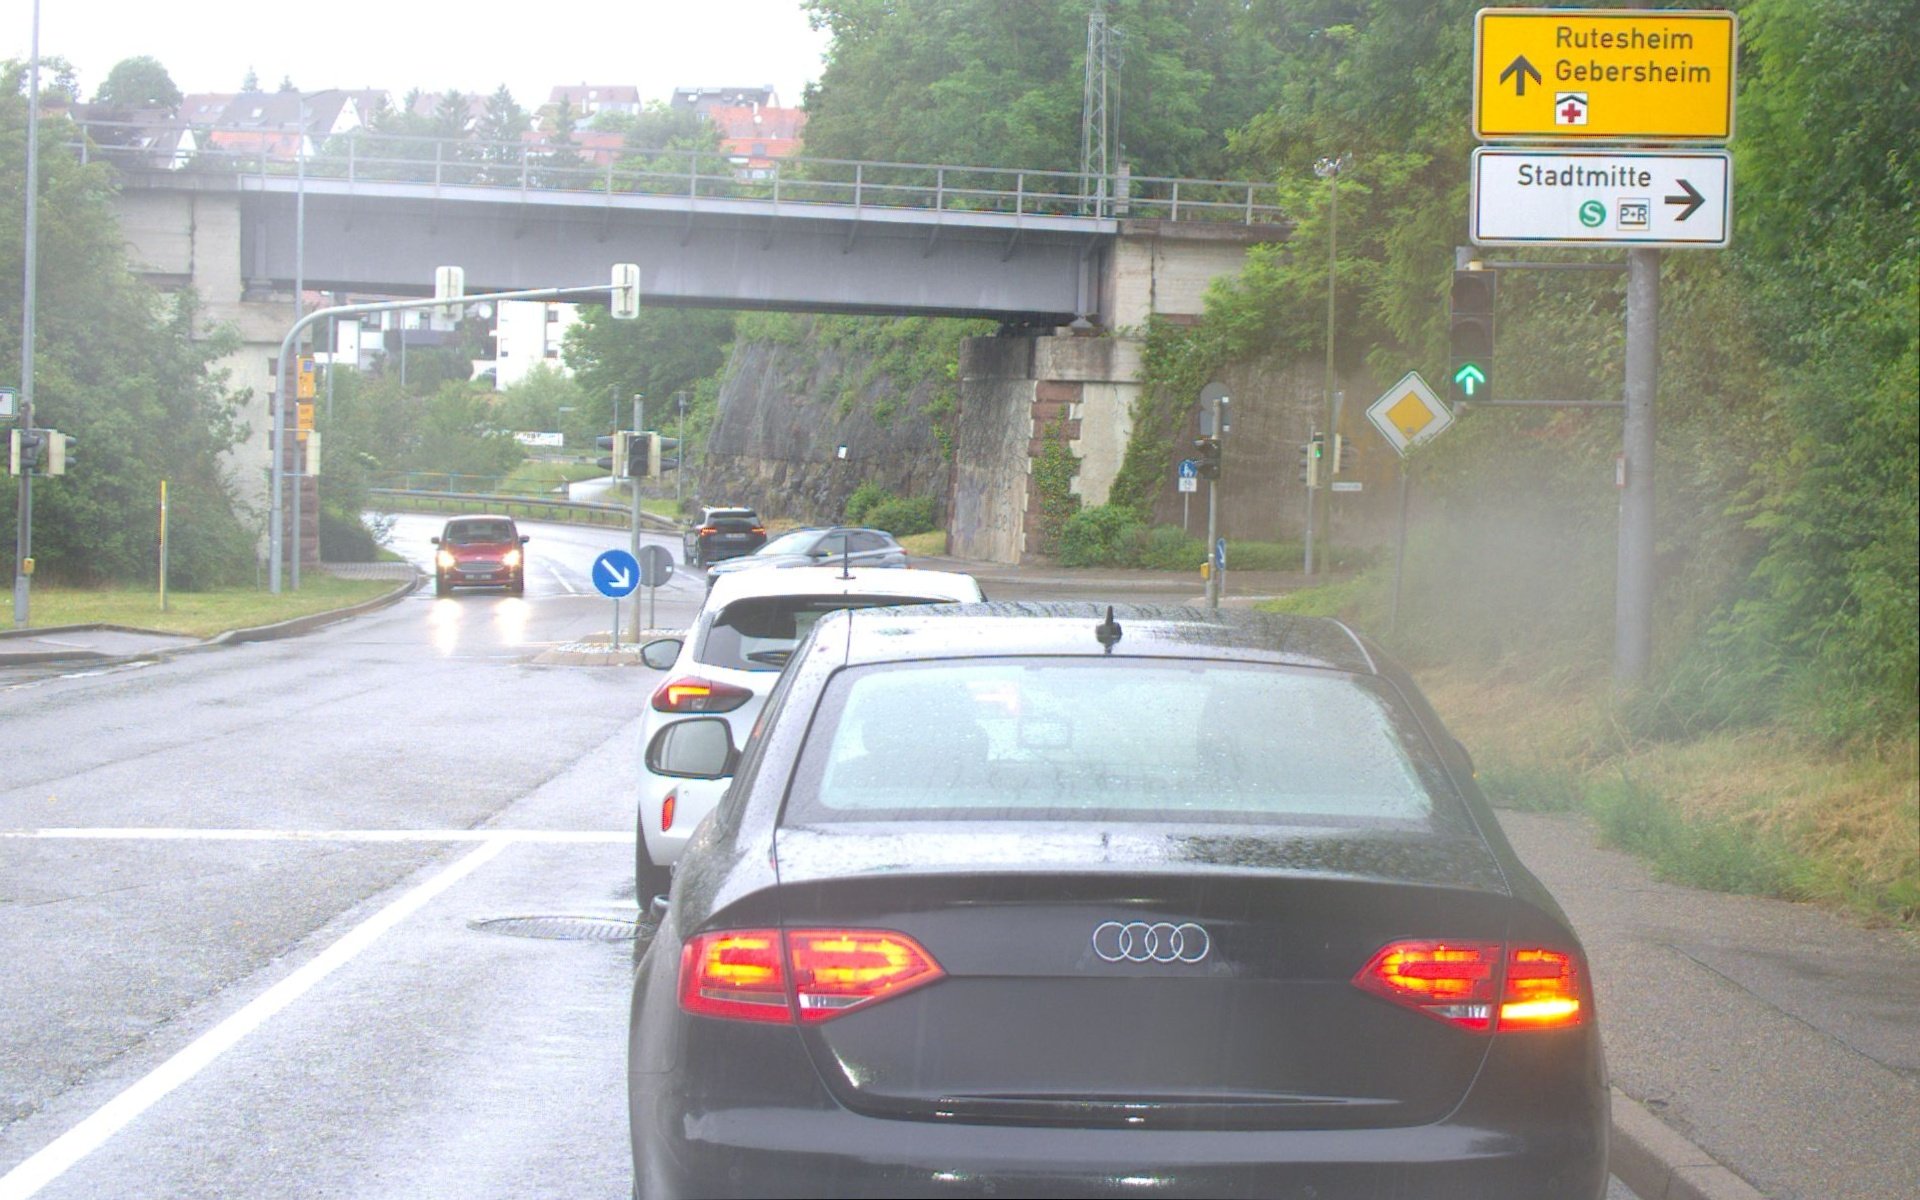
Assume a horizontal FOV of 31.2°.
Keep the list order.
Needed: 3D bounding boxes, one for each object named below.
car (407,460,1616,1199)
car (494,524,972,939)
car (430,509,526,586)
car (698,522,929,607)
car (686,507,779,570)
[{"bbox_3d":[0.054,0.603,7.340,1.870,1.611,4.000,1,0,-1],"label":"car"},{"bbox_3d":[-0.900,0.510,15.221,1.823,1.579,4.000,1,0,-1],"label":"car"},{"bbox_3d":[-10.465,-1.140,74.822,1.993,1.622,4.001,0,1,-7],"label":"car"},{"bbox_3d":[-2.614,-0.630,61.959,3.989,1.465,1.644,0,1,-42],"label":"car"},{"bbox_3d":[-5.921,-1.592,89.031,1.993,1.590,4.001,-1,1,-10],"label":"car"}]
